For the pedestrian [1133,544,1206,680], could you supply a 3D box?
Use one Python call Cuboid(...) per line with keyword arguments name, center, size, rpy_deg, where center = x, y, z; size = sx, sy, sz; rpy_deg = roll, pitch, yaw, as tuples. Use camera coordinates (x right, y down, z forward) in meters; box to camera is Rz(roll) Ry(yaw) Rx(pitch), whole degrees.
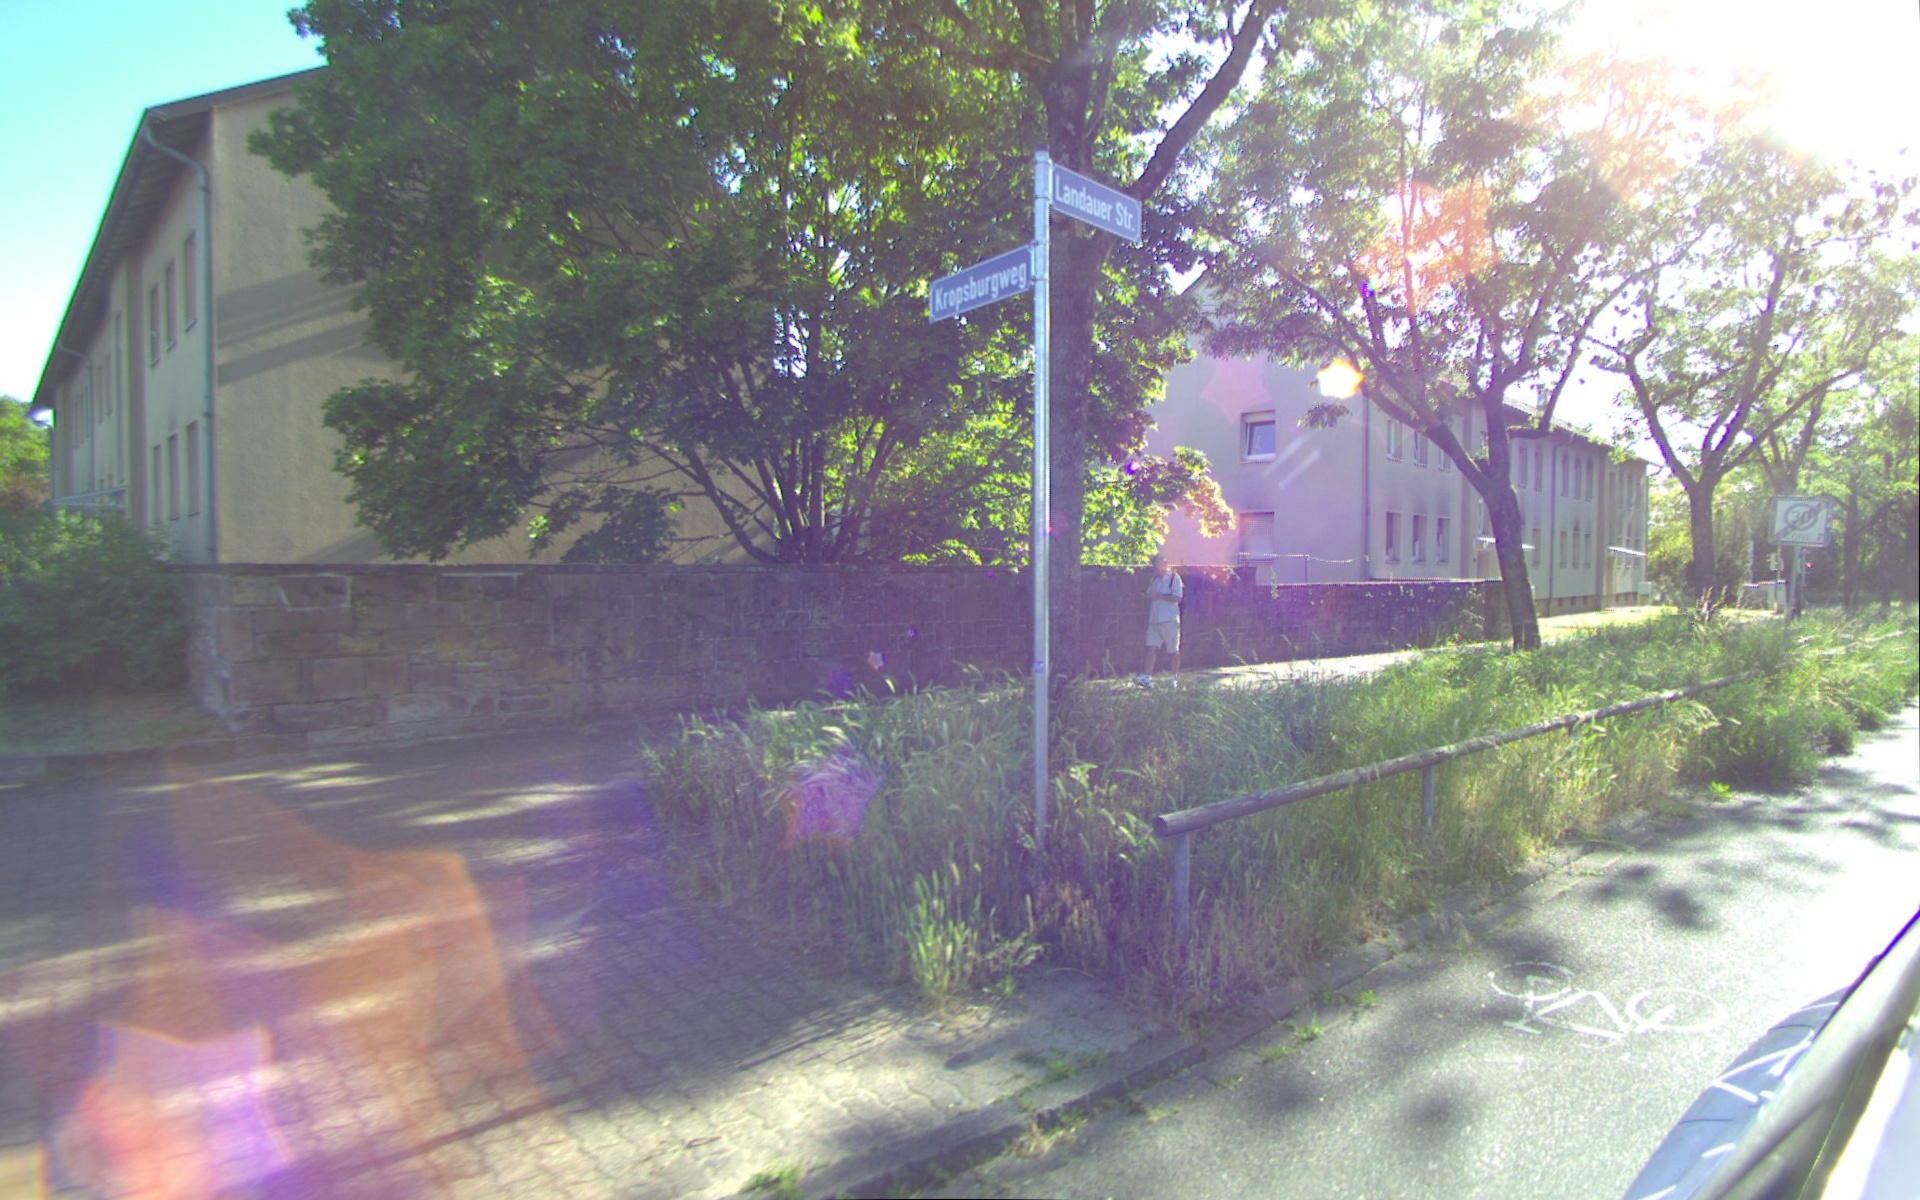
Cuboid(name="pedestrian", center=(2.760, 0.143, 13.354), size=(0.601, 1.726, 0.638), rpy_deg=(0, 3, -42))
